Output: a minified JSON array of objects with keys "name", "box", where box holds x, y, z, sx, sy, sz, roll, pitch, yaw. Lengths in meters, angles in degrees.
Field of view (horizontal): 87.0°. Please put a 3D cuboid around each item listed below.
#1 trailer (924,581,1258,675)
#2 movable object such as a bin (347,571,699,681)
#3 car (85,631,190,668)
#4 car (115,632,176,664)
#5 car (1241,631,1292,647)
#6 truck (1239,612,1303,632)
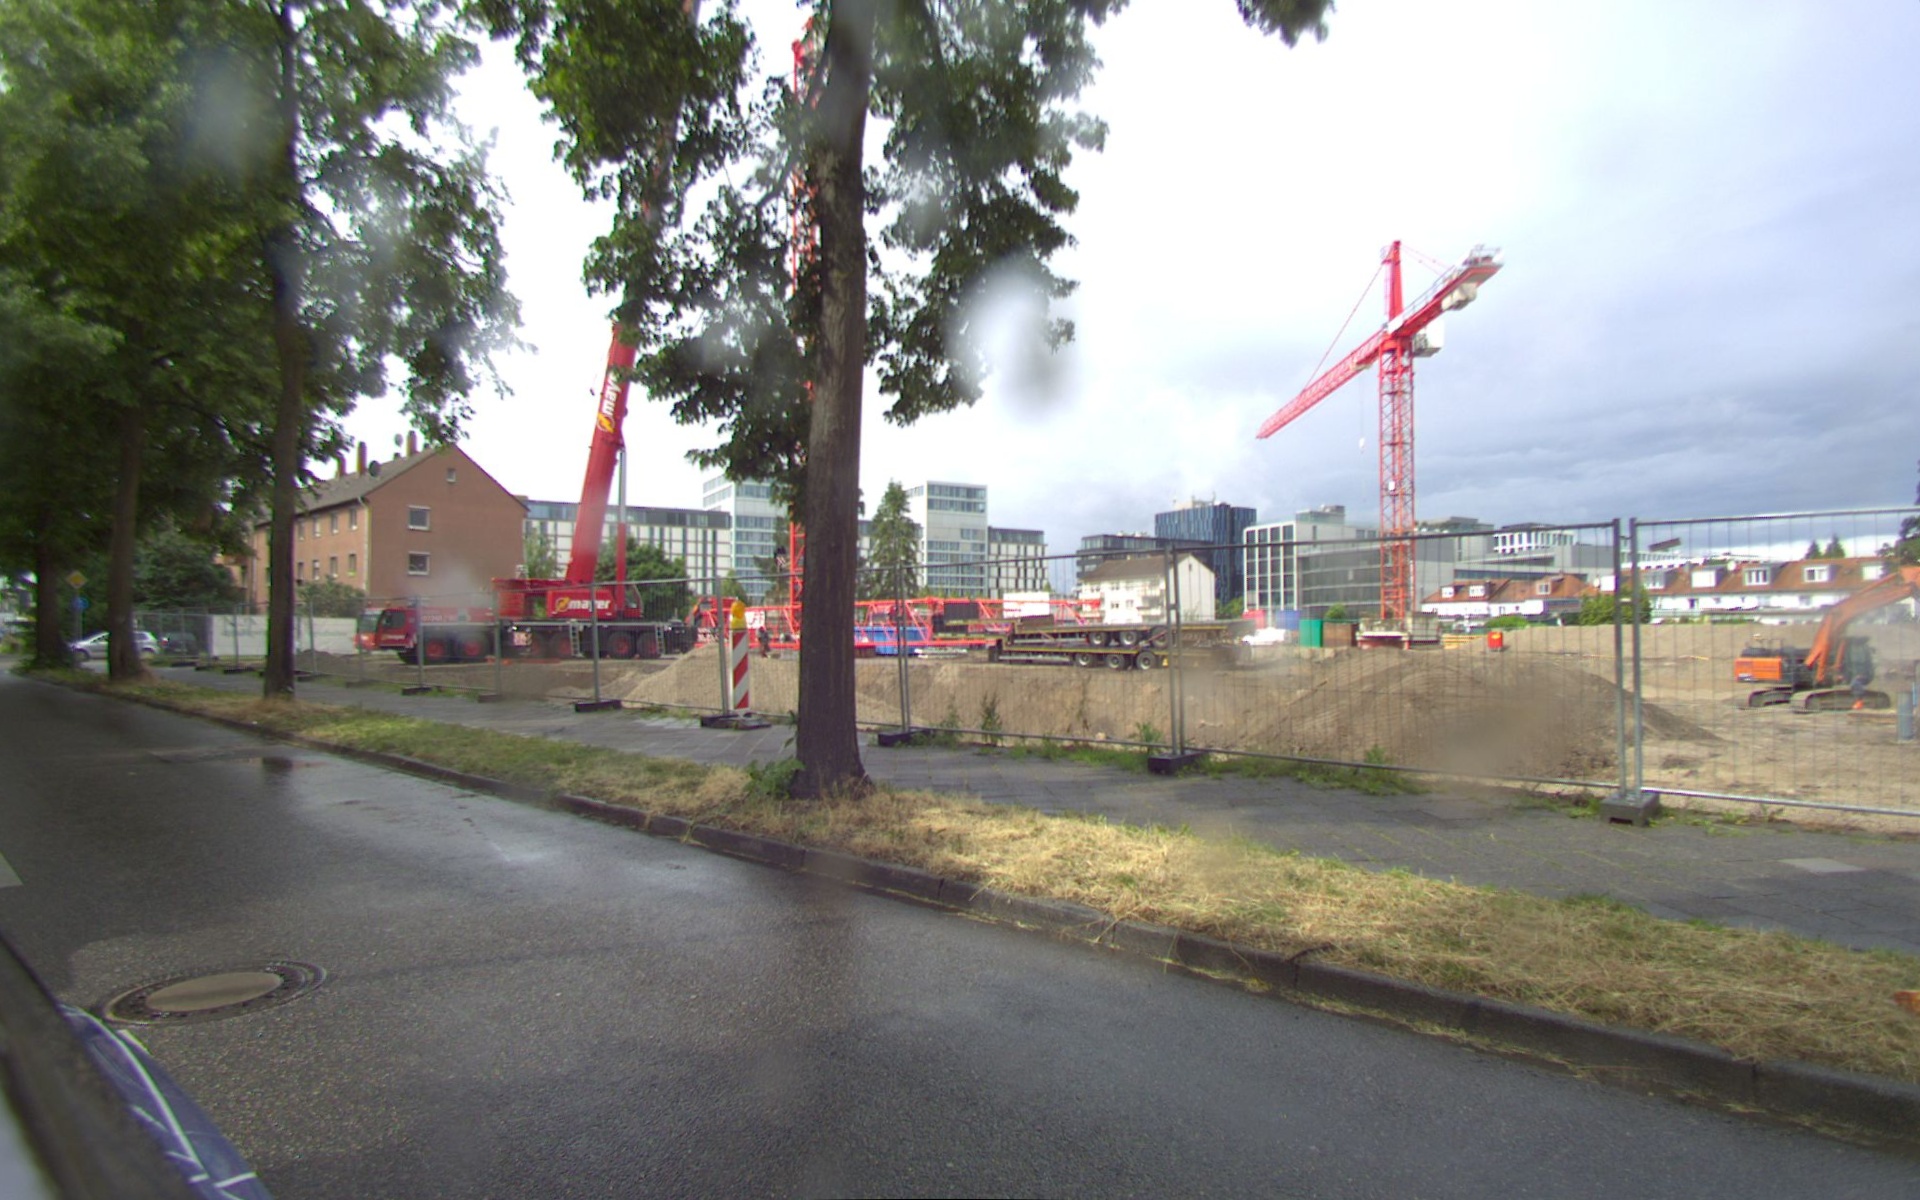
[{"name":"trailer","box":[4.809,1.080,41.624,14.302,3.257,2.930,-1,1,41]},{"name":"movable object such as a bin","box":[-20.470,1.046,49.217,3.102,4.592,15.727,-1,0,44]},{"name":"car","box":[-39.445,2.347,48.646,3.808,1.564,1.702,-1,0,-36]},{"name":"car","box":[-42.500,2.457,52.772,3.996,1.541,1.672,-1,0,39]},{"name":"car","box":[31.037,3.926,102.579,4.582,1.529,1.797,-1,0,44]},{"name":"truck","box":[32.961,2.345,107.321,6.292,2.095,1.884,-1,0,25]}]
